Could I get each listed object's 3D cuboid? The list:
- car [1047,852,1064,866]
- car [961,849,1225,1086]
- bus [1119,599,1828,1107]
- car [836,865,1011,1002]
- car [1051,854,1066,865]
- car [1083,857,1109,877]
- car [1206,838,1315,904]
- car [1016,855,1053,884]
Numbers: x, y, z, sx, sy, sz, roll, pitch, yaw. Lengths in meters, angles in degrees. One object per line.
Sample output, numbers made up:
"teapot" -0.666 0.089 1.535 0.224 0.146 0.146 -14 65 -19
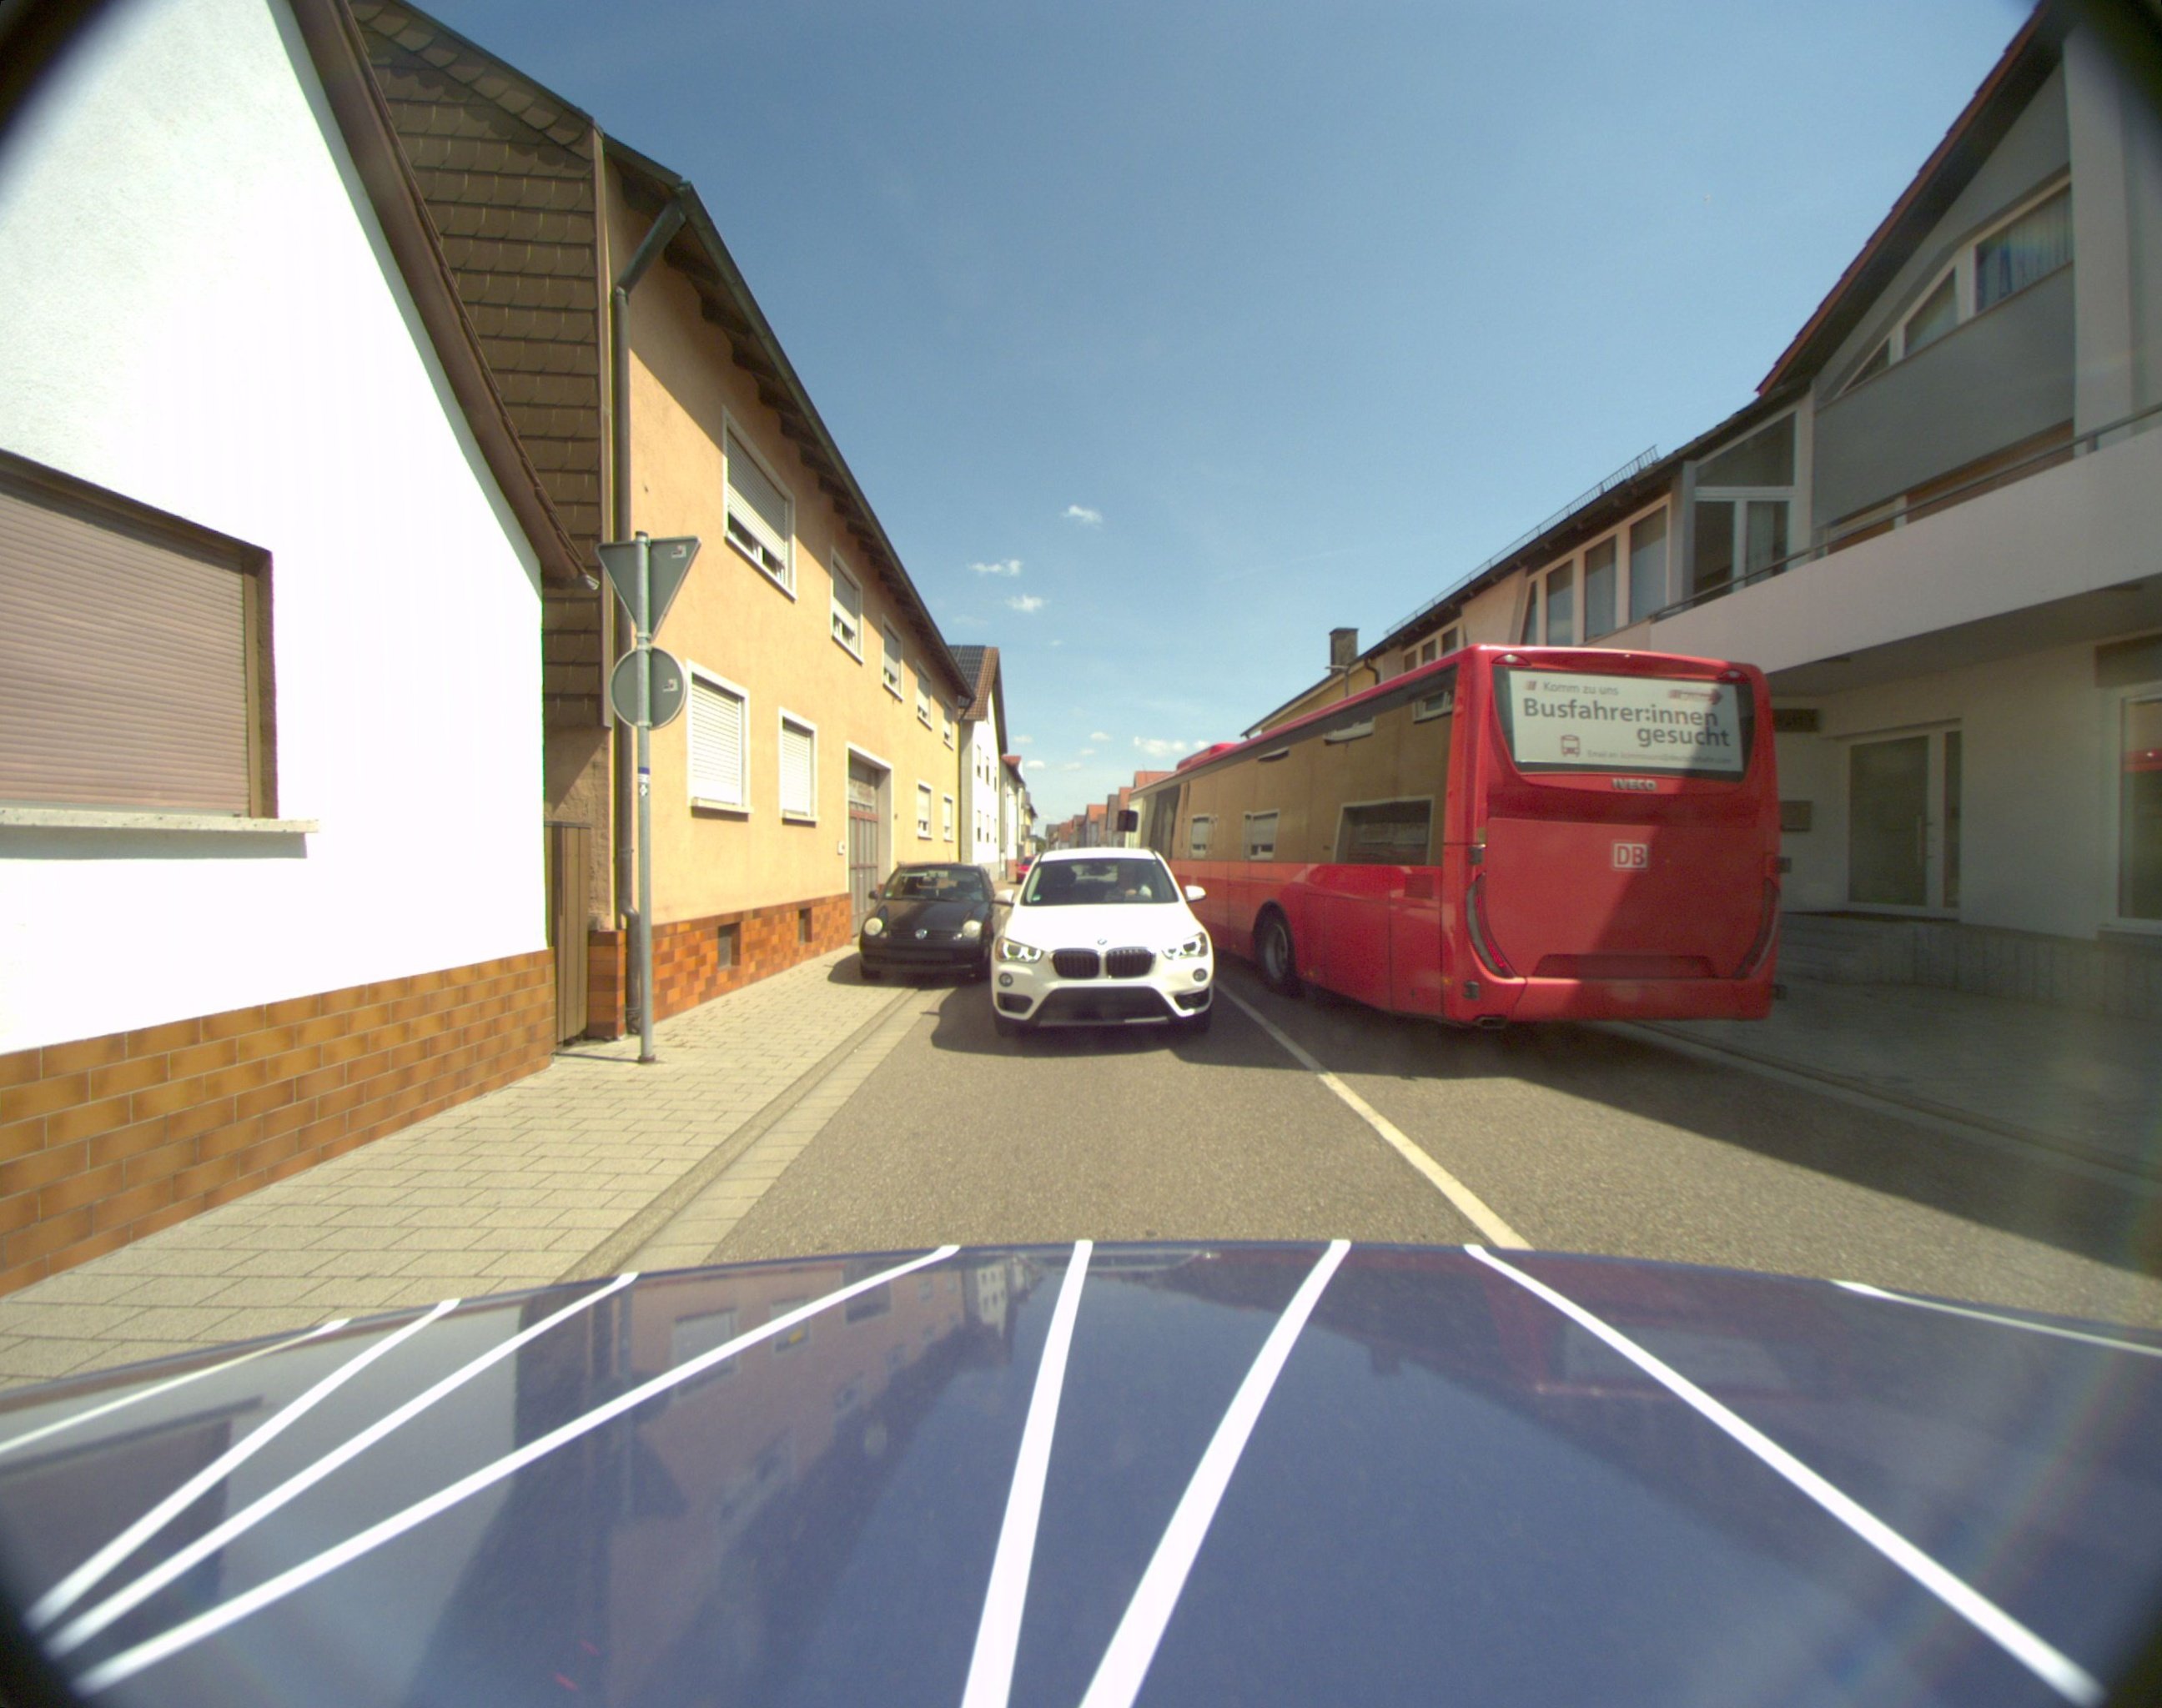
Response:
"car" -2.706 0.473 79.914 1.765 1.420 4.188 0 0 -2
"car" 0.059 0.819 7.666 1.845 1.636 4.373 -2 0 -1
"bus" 2.941 -0.012 10.942 2.635 3.213 12.013 1 0 -7
"car" -1.930 0.922 10.342 1.690 1.454 3.628 2 0 -2
"car" -2.908 0.714 98.529 1.765 1.420 4.187 0 0 -4
"car" 1.089 0.926 57.152 1.765 1.389 3.869 1 0 -1
"car" 4.749 0.402 20.651 1.748 1.507 3.998 -4 1 -3
"car" -2.354 0.743 39.308 1.765 1.420 4.188 0 0 -2
